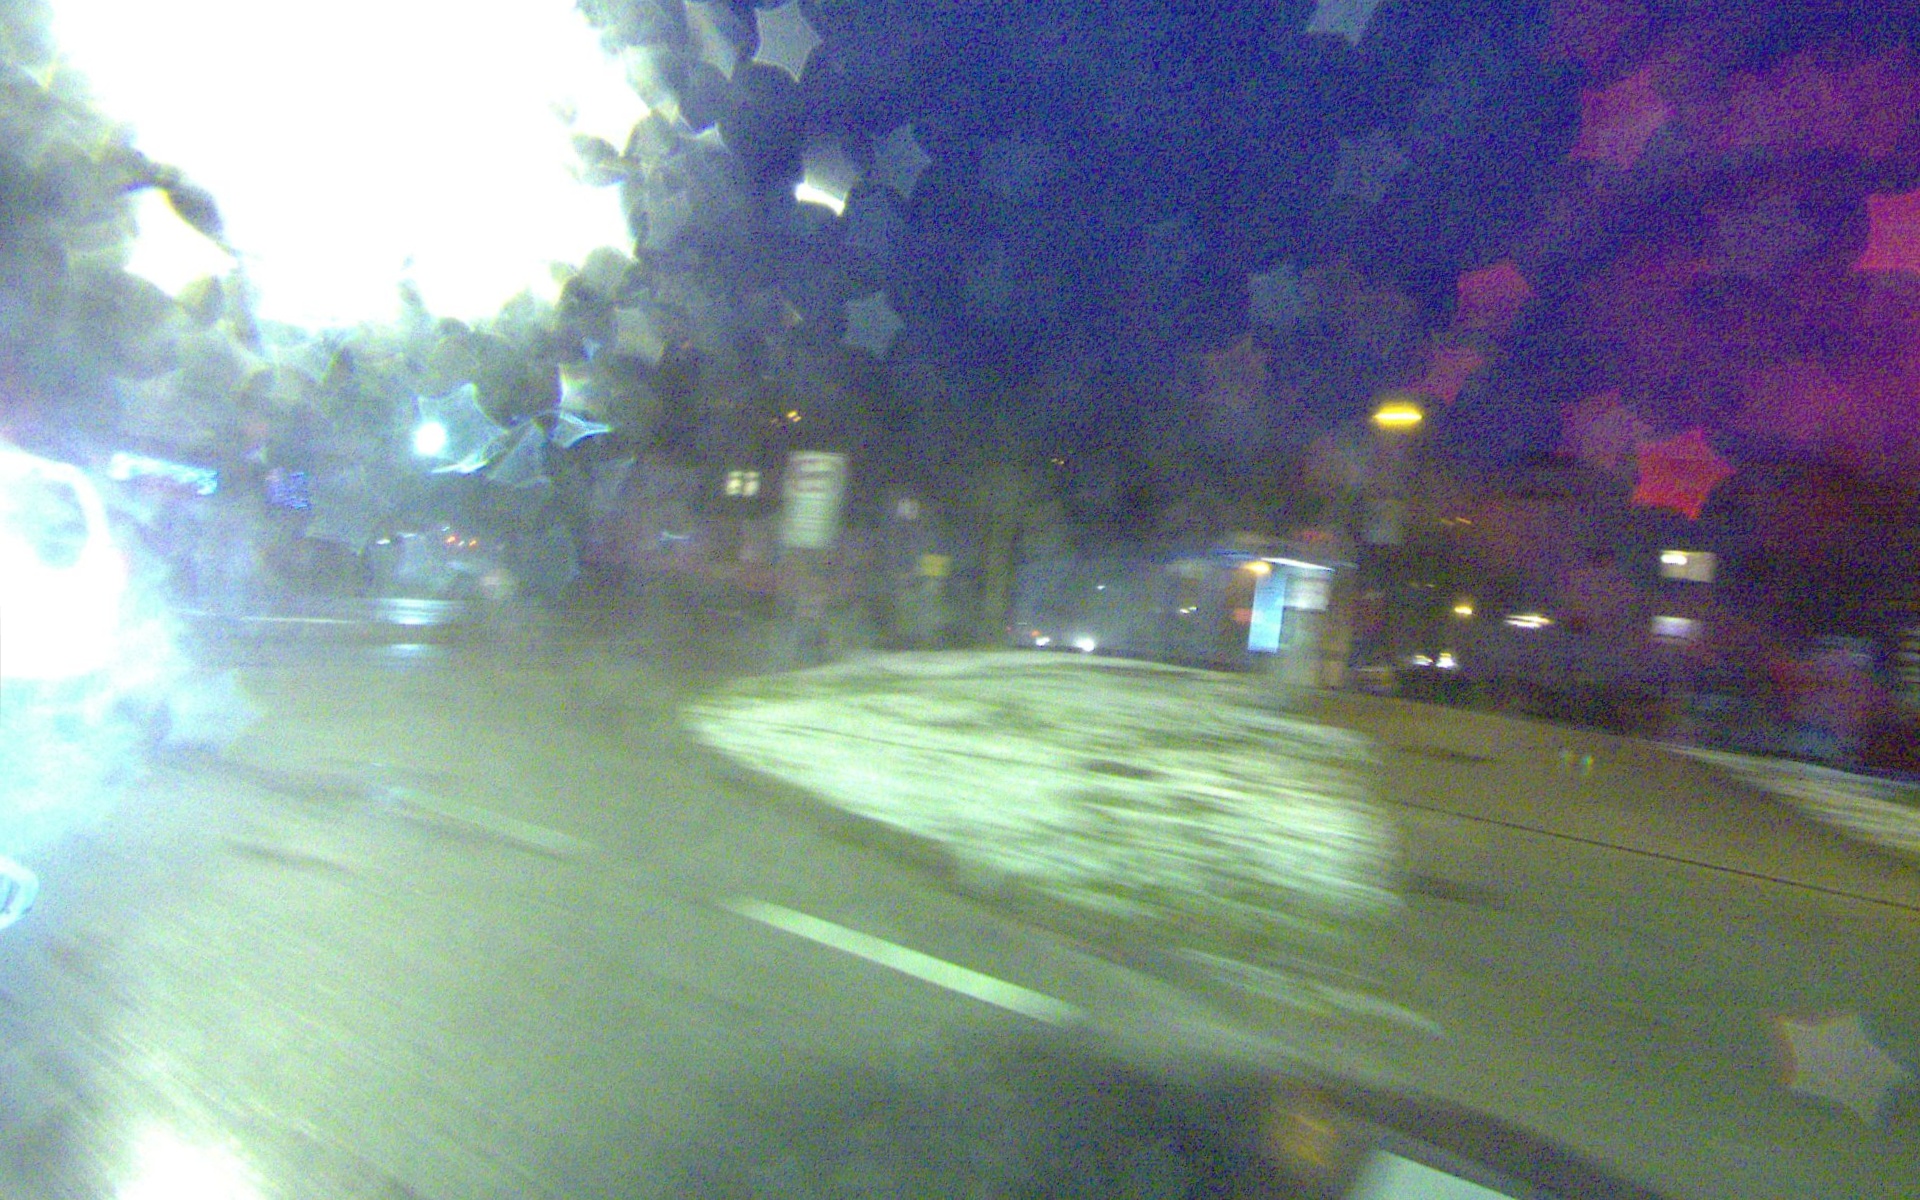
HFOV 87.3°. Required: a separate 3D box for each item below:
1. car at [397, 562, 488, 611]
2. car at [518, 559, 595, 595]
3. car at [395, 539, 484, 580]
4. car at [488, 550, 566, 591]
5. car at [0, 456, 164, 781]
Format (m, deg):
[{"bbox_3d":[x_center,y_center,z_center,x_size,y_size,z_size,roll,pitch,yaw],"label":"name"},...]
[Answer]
[{"bbox_3d":[-21.050,-0.577,40.849,3.908,1.667,1.862,4,-1,40],"label":"car"},{"bbox_3d":[-25.482,-1.451,63.559,3.976,1.725,1.977,9,-4,-43],"label":"car"},{"bbox_3d":[-28.143,-2.182,54.451,3.992,1.688,1.781,6,-2,15],"label":"car"},{"bbox_3d":[-27.782,-1.891,64.603,1.975,2.036,3.979,4,-4,45],"label":"car"},{"bbox_3d":[-7.535,-0.064,6.707,4.267,1.886,1.856,5,-3,29],"label":"car"}]
